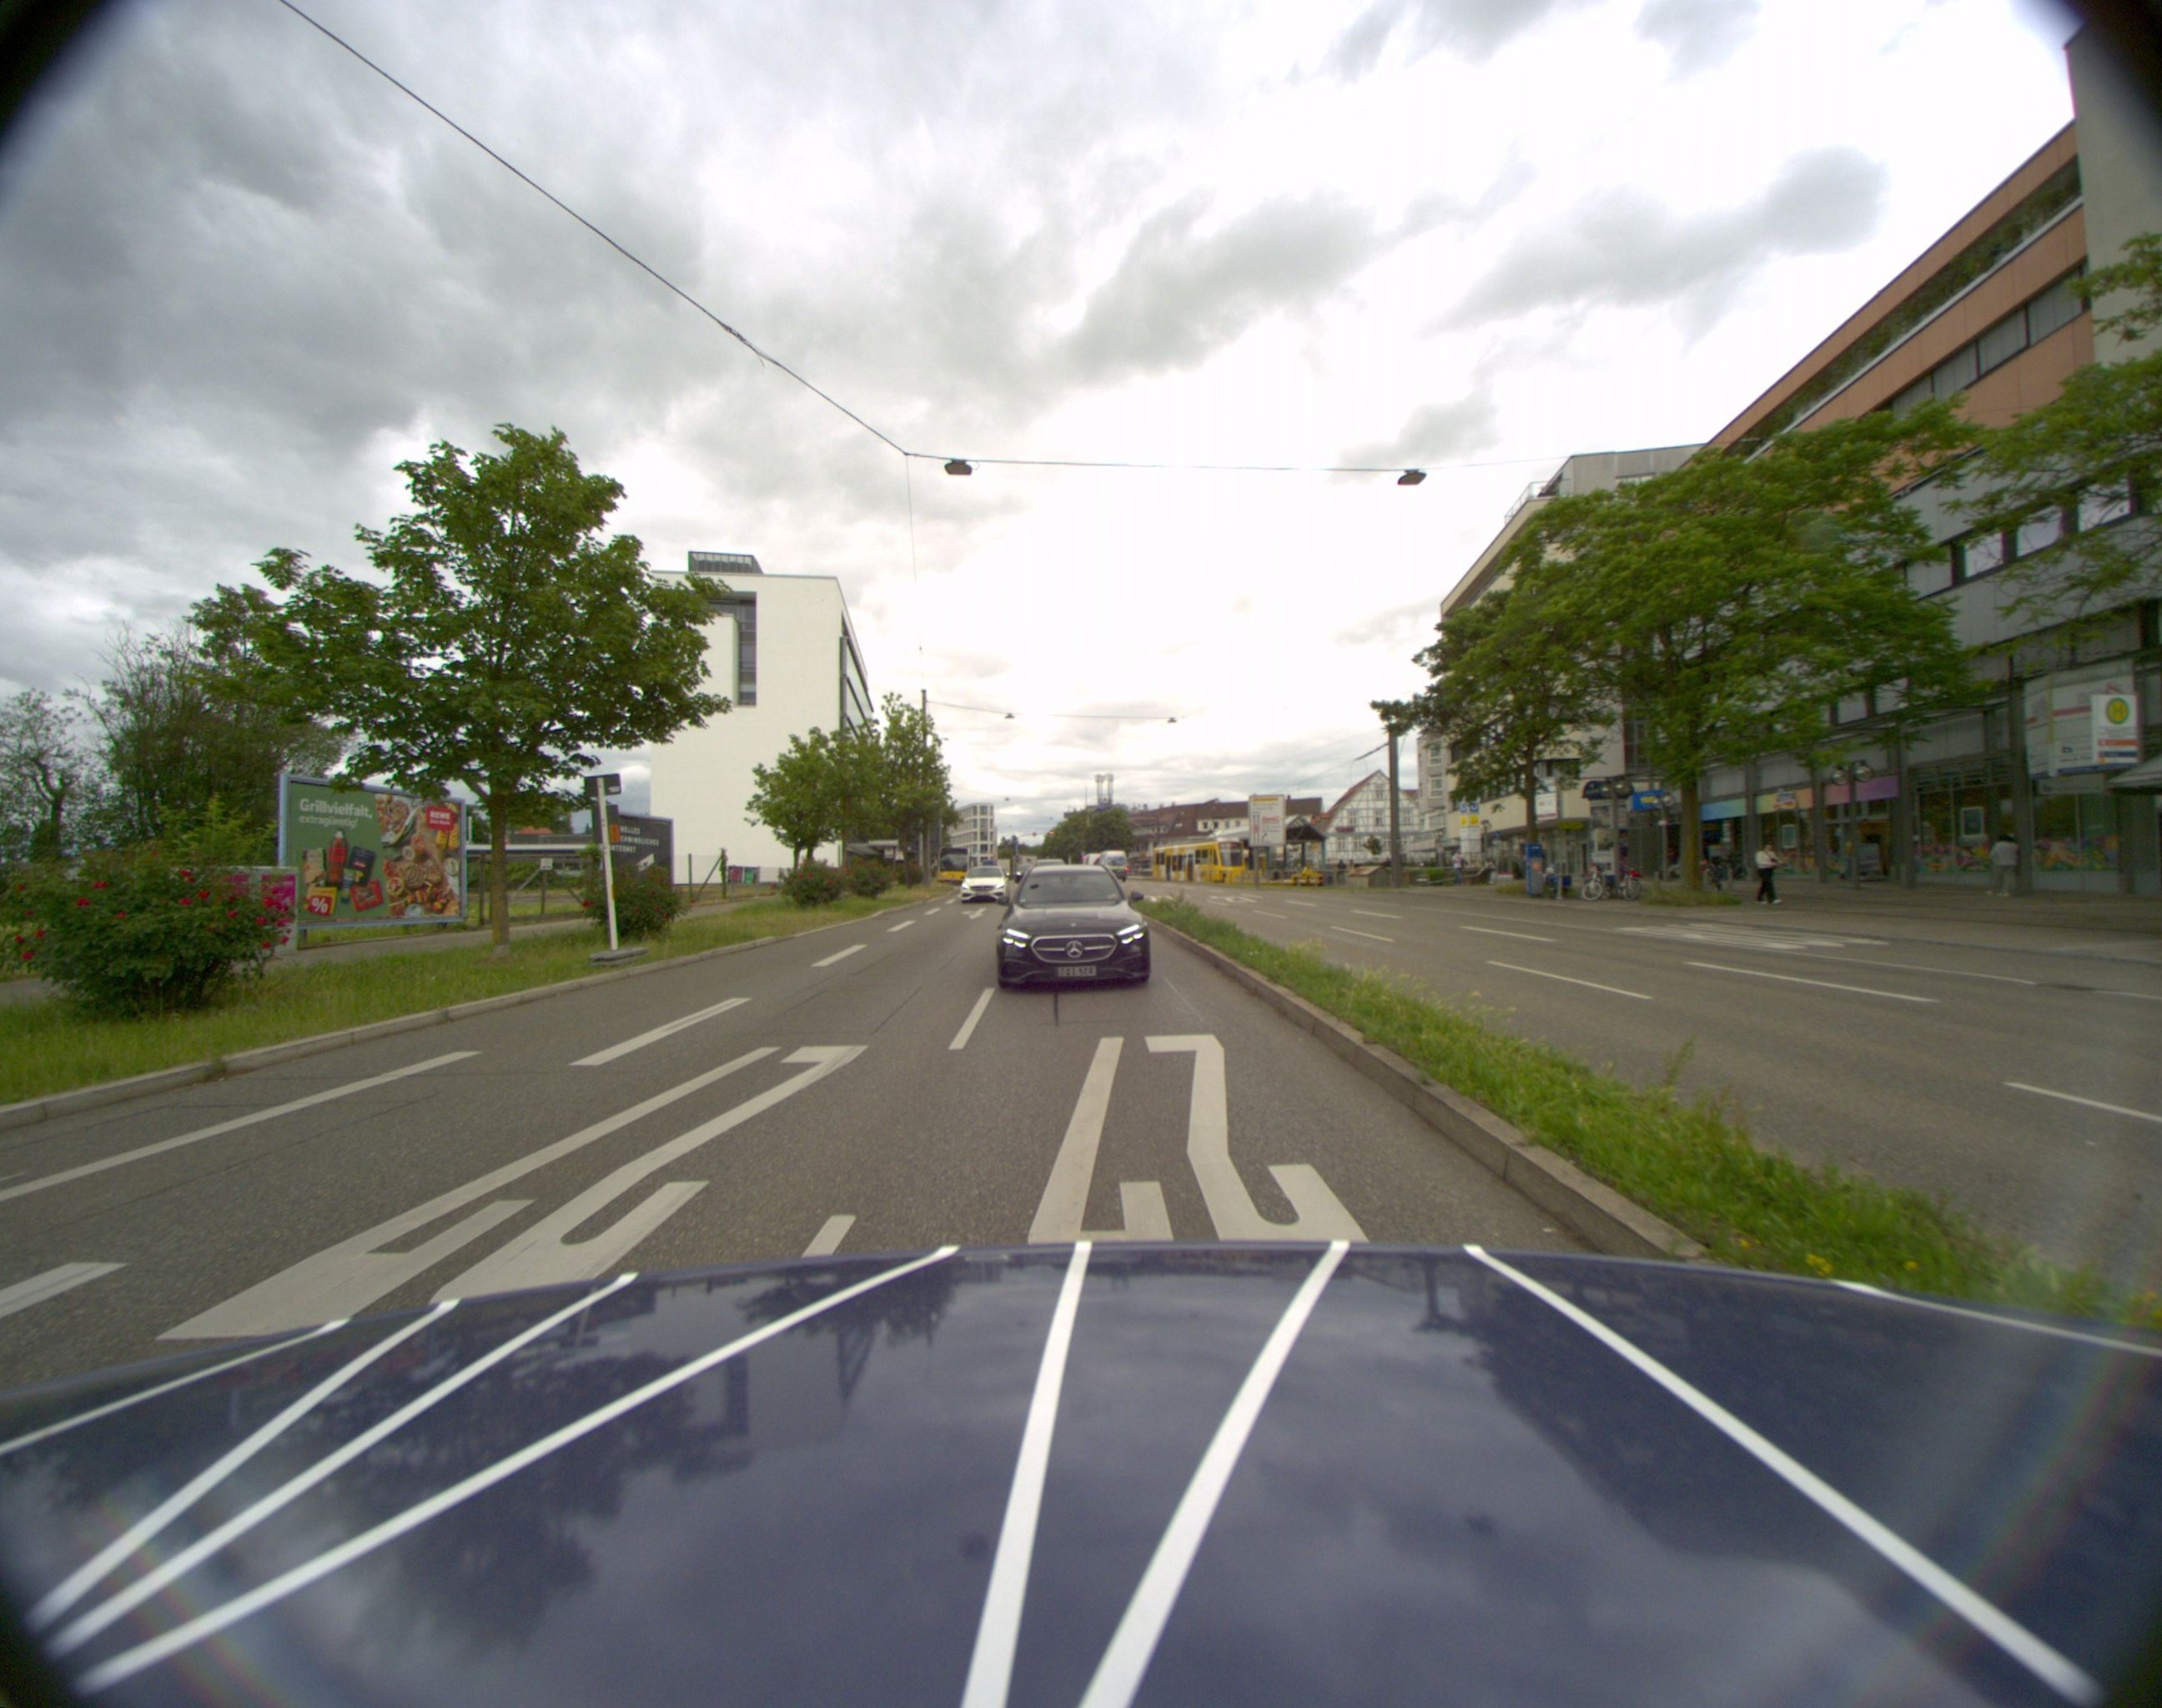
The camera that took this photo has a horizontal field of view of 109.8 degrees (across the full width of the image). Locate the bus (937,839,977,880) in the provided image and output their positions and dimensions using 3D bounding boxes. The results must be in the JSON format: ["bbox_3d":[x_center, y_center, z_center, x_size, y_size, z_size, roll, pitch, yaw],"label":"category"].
[{"bbox_3d":[-10.547,0.502,64.370,2.992,3.222,9.858,-1,-1,-10],"label":"bus"}]

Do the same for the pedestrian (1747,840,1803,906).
[{"bbox_3d":[18.587,0.502,20.367,0.777,1.703,0.706,-3,0,-4],"label":"pedestrian"}]

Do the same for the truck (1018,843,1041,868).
[{"bbox_3d":[-8.628,0.268,126.625,2.948,3.934,9.158,-1,-1,-10],"label":"truck"}]

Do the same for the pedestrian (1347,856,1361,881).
[{"bbox_3d":[16.852,0.893,46.938,0.601,1.564,0.620,0,0,-8],"label":"pedestrian"}]

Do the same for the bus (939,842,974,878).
[{"bbox_3d":[-12.142,0.614,73.736,3.046,3.216,9.331,0,-1,-10],"label":"bus"}]

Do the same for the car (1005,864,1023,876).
[{"bbox_3d":[-8.584,2.023,97.039,1.735,1.544,4.370,-2,0,2],"label":"car"}]

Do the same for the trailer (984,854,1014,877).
[{"bbox_3d":[-16.306,2.335,149.539,3.114,4.243,14.829,0,-2,-17],"label":"trailer"}]

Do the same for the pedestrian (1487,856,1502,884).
[{"bbox_3d":[25.294,0.982,46.452,0.551,1.690,0.628,0,0,-8],"label":"pedestrian"}]

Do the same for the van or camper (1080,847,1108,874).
[{"bbox_3d":[1.284,0.680,76.981,2.000,2.582,6.112,1,-1,-7],"label":"van or camper"}]

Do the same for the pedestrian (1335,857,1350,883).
[{"bbox_3d":[16.028,0.981,46.570,0.601,1.564,0.620,0,0,-8],"label":"pedestrian"}]

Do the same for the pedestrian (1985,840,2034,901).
[{"bbox_3d":[24.814,0.442,20.318,0.633,1.590,0.624,-2,0,33],"label":"pedestrian"}]

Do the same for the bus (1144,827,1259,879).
[{"bbox_3d":[9.870,0.083,66.566,3.890,3.836,19.327,0,-1,-10],"label":"bus"}]

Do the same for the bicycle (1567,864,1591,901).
[{"bbox_3d":[16.170,0.894,24.665,0.603,1.154,1.969,-1,-1,34],"label":"bicycle"}]

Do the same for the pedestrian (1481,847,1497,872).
[{"bbox_3d":[27.443,0.385,51.139,0.693,1.690,0.628,0,0,-8],"label":"pedestrian"}]

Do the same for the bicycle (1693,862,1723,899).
[{"bbox_3d":[20.069,0.823,24.311,0.672,1.154,2.023,-1,-1,41],"label":"bicycle"}]

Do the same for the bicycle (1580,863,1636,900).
[{"bbox_3d":[17.291,0.890,24.978,0.604,1.154,1.966,-1,-1,6],"label":"bicycle"}]

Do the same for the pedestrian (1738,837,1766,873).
[{"bbox_3d":[32.994,0.044,37.364,0.705,1.706,0.706,-3,0,-6],"label":"pedestrian"}]

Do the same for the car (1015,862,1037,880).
[{"bbox_3d":[-4.557,1.395,63.441,1.735,1.474,4.368,-2,0,-3],"label":"car"}]

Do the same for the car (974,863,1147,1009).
[{"bbox_3d":[-0.225,0.971,11.027,1.872,1.542,4.773,-4,-1,0],"label":"car"}]

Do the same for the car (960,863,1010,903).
[{"bbox_3d":[-4.097,1.143,31.849,1.874,1.496,4.768,-1,0,-10],"label":"car"}]

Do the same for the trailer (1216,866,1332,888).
[{"bbox_3d":[12.543,1.466,51.133,2.850,1.325,12.117,0,-1,-10],"label":"trailer"}]

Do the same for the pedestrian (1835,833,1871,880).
[{"bbox_3d":[28.407,0.097,27.956,0.651,1.690,0.668,0,0,-6],"label":"pedestrian"}]

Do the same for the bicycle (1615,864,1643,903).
[{"bbox_3d":[16.962,0.907,23.548,0.603,1.154,1.693,-1,-1,33],"label":"bicycle"}]

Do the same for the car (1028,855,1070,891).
[{"bbox_3d":[-1.594,0.948,39.070,1.735,1.680,4.370,-2,0,2],"label":"car"}]

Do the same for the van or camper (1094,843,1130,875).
[{"bbox_3d":[2.662,0.453,66.413,2.039,2.582,6.112,1,-1,-8],"label":"van or camper"}]

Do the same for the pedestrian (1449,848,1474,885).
[{"bbox_3d":[19.007,0.623,37.931,0.746,1.866,0.873,0,0,-6],"label":"pedestrian"}]

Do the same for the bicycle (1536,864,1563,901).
[{"bbox_3d":[15.656,0.930,25.380,0.603,1.154,1.969,-3,-1,35],"label":"bicycle"}]

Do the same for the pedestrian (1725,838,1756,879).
[{"bbox_3d":[28.183,0.195,32.494,0.706,1.688,0.635,-3,0,-6],"label":"pedestrian"}]
